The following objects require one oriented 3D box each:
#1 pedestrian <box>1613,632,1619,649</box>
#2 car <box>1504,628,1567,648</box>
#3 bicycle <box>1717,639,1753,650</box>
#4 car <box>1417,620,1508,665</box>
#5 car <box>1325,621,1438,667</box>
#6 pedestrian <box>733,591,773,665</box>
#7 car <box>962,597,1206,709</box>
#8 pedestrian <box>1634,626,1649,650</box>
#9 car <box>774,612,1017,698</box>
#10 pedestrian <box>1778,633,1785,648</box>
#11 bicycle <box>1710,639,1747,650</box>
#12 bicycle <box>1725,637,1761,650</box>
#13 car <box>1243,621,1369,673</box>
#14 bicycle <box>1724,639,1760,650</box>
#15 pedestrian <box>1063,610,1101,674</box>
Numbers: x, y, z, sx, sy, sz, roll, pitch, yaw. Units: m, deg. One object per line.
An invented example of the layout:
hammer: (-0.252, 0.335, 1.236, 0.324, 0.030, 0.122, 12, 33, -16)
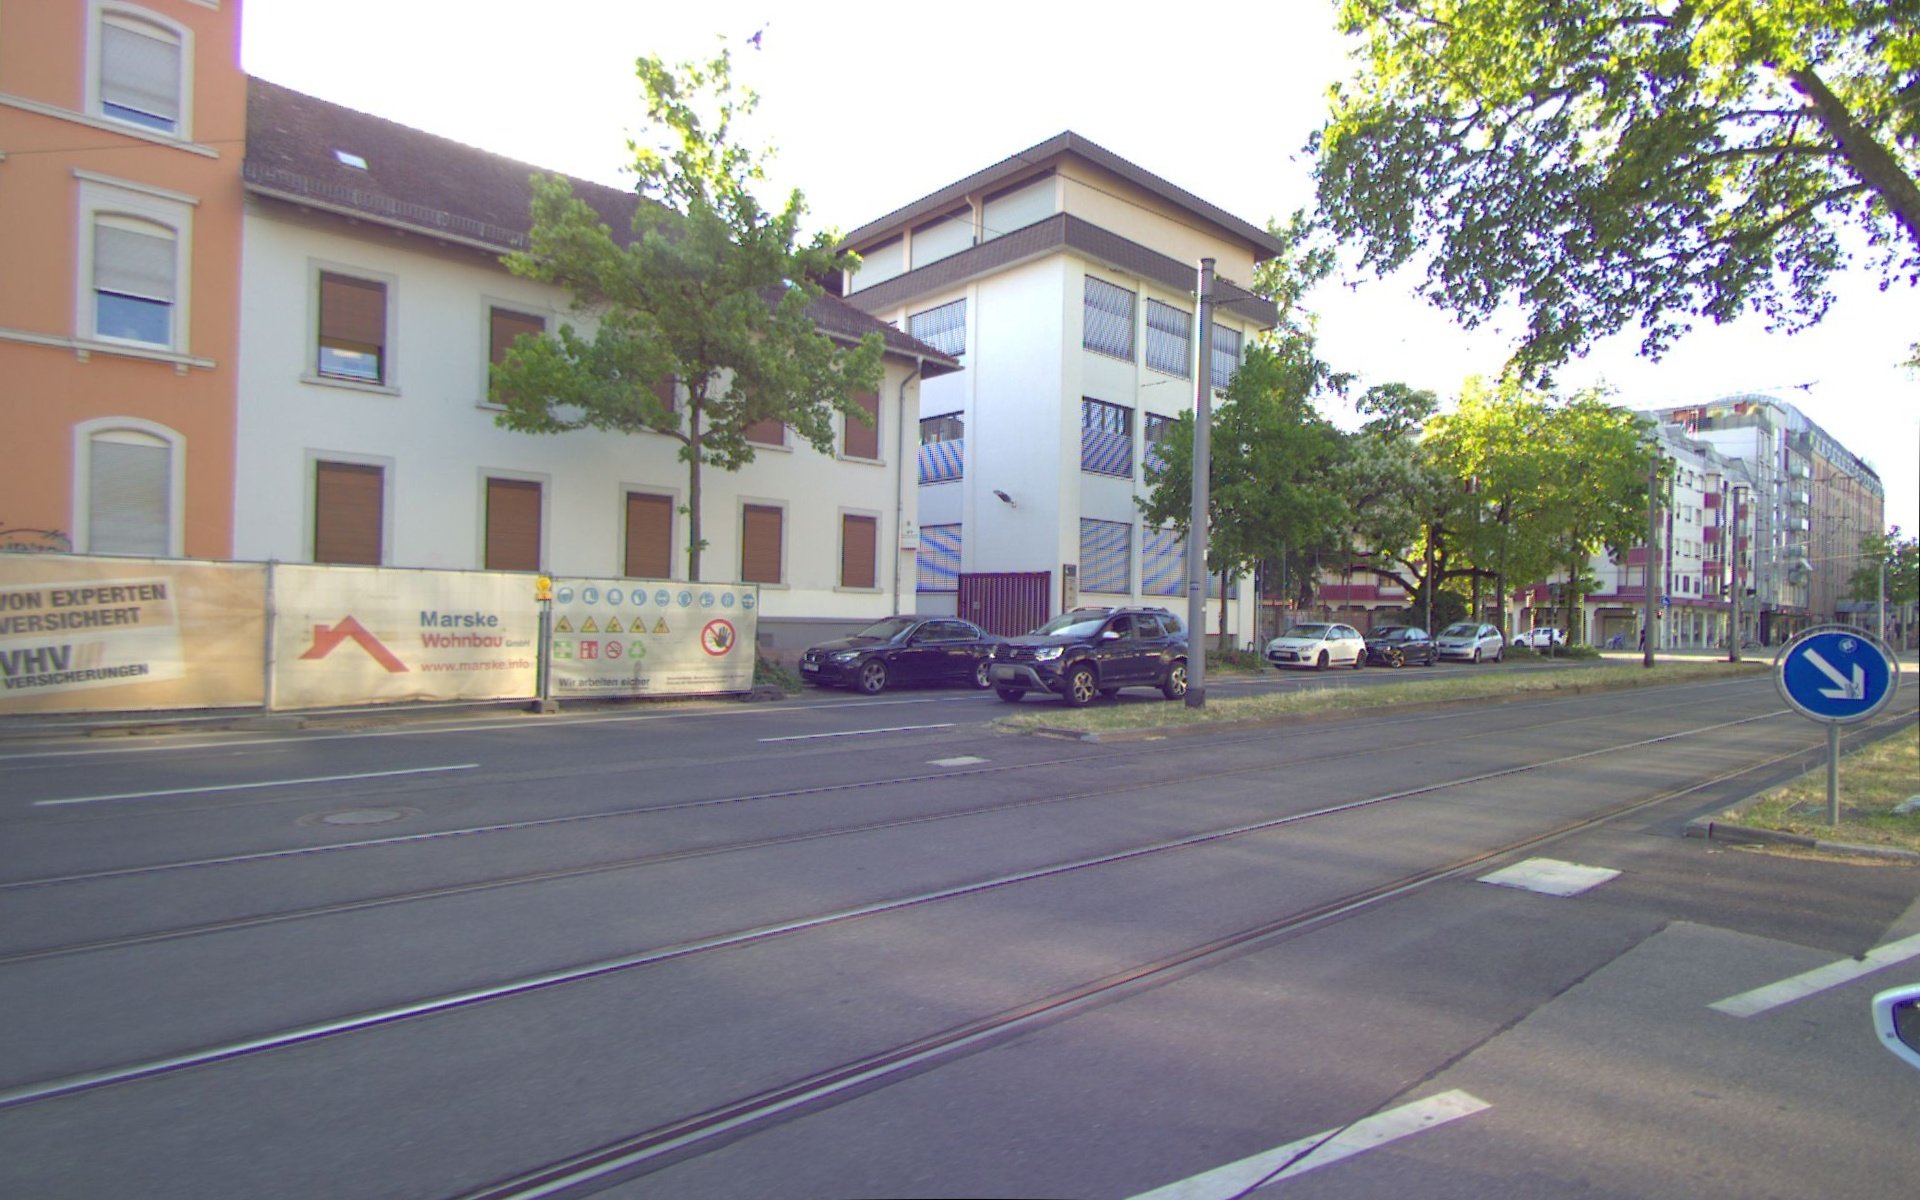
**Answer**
pedestrian: (48.164, 2.963, 73.781, 0.300, 1.230, 0.316, -1, -2, 44)
car: (43.718, 2.892, 76.341, 3.938, 1.483, 1.794, -1, -2, 38)
bicycle: (59.184, 3.409, 76.701, 0.488, 0.797, 2.149, 2, -1, -43)
car: (20.278, 1.677, 40.452, 4.148, 1.711, 1.975, 2, -1, -43)
car: (14.907, 1.514, 35.397, 4.617, 1.495, 1.975, 2, -1, -43)
pedestrian: (-4.557, 0.615, 22.151, 0.635, 1.591, 0.588, 1, -1, -43)
car: (2.258, 0.865, 17.580, 4.279, 1.711, 1.975, 2, -1, -43)
pedestrian: (48.355, 2.697, 71.296, 0.701, 1.684, 1.027, -1, -2, 45)
car: (-1.201, 1.043, 20.234, 4.690, 1.534, 1.975, 2, -1, -42)
pedestrian: (82.453, 4.105, 100.774, 0.524, 1.478, 0.505, 2, -1, -45)
bicycle: (58.455, 3.394, 76.397, 0.636, 0.797, 2.149, 2, -1, -43)
bicycle: (60.690, 3.388, 77.894, 0.488, 0.963, 2.149, 2, -1, -43)
car: (10.990, 1.441, 31.761, 4.374, 1.490, 1.975, 2, -1, -43)
bicycle: (60.284, 3.433, 77.482, 0.524, 0.835, 2.149, 2, -1, -43)
pedestrian: (3.199, 1.094, 26.399, 0.725, 1.642, 0.630, 2, 0, -37)
